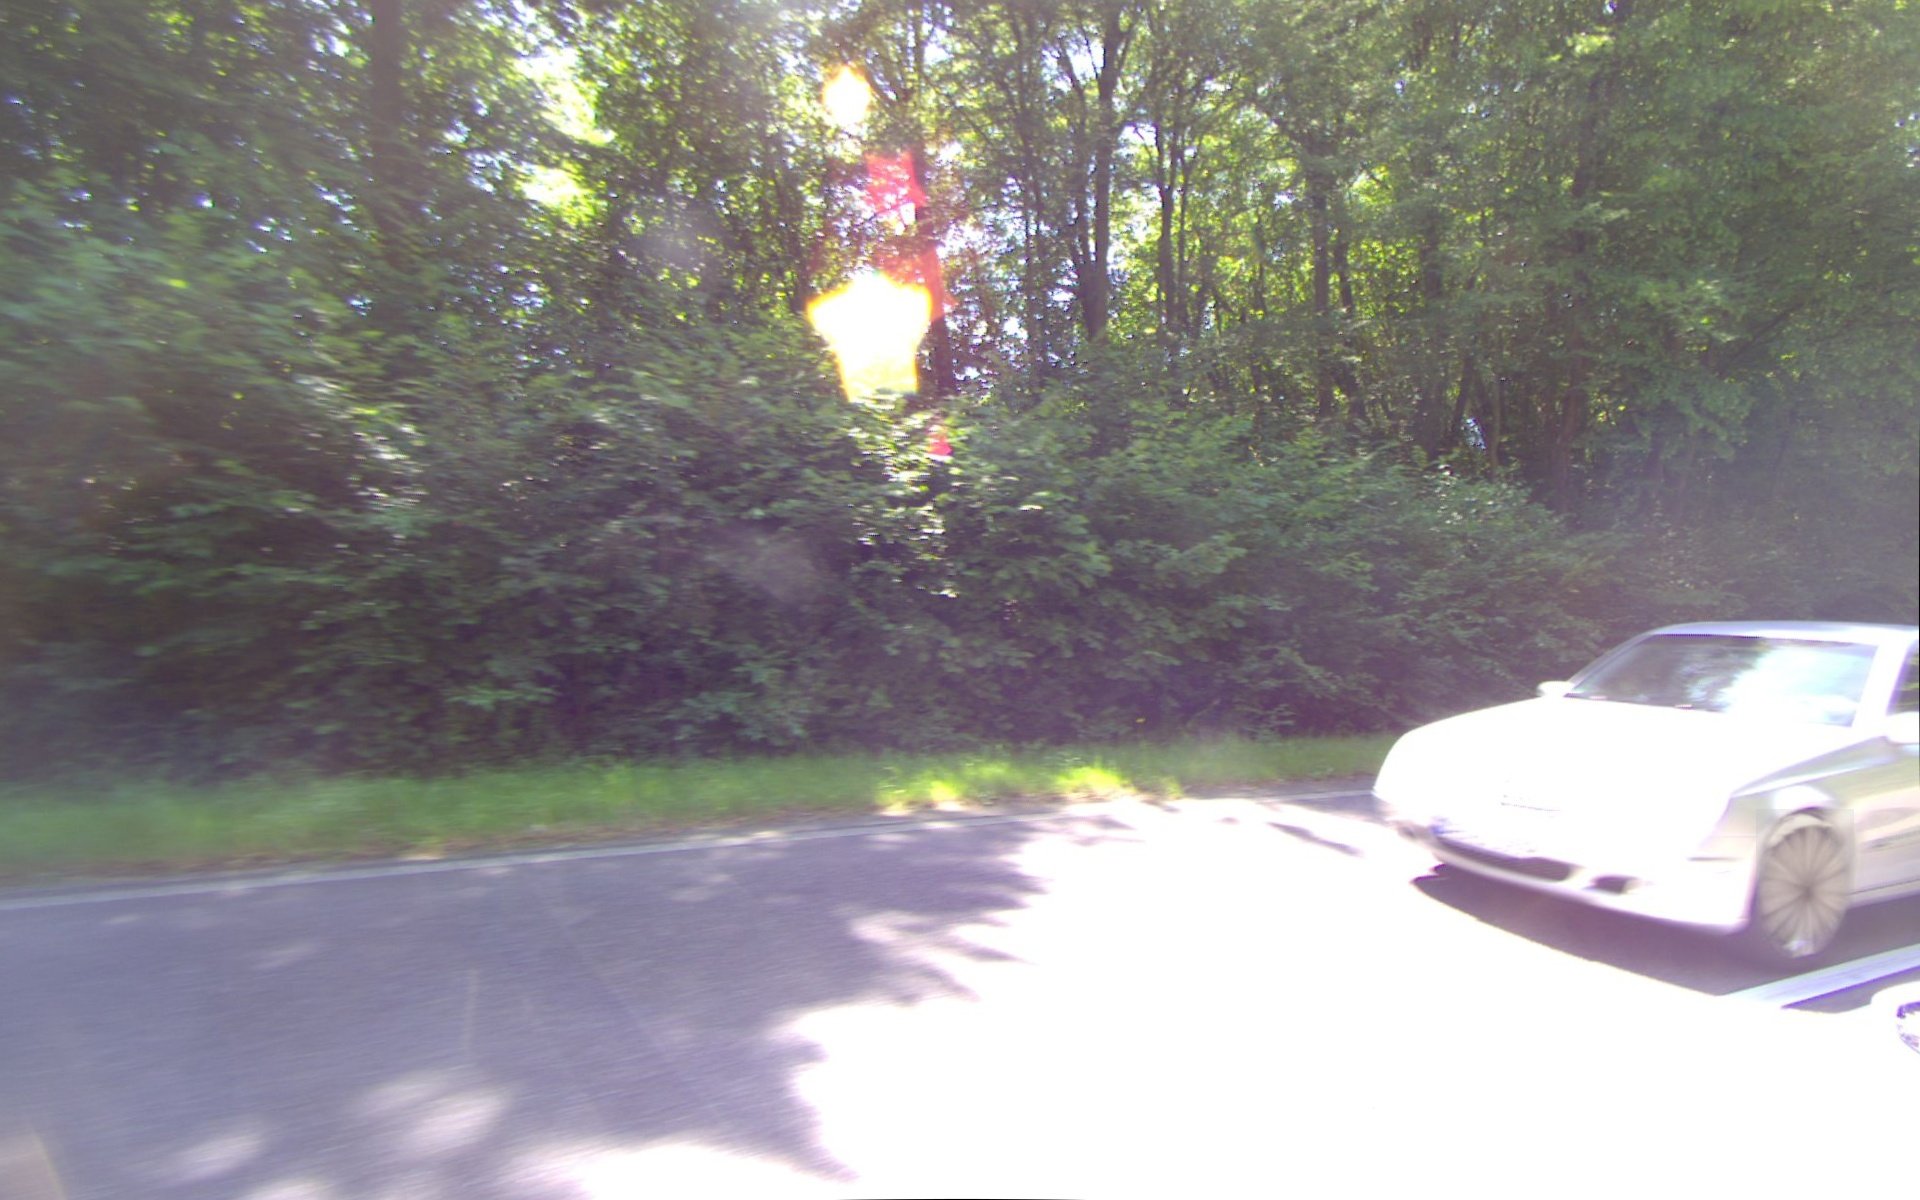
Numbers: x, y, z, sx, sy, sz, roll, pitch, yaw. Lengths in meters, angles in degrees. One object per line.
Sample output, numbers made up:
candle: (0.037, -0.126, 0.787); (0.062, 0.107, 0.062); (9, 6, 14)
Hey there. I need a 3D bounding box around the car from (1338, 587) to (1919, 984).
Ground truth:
car: (4.593, 0.793, 5.612); (4.698, 1.505, 1.841); (2, -2, -23)
